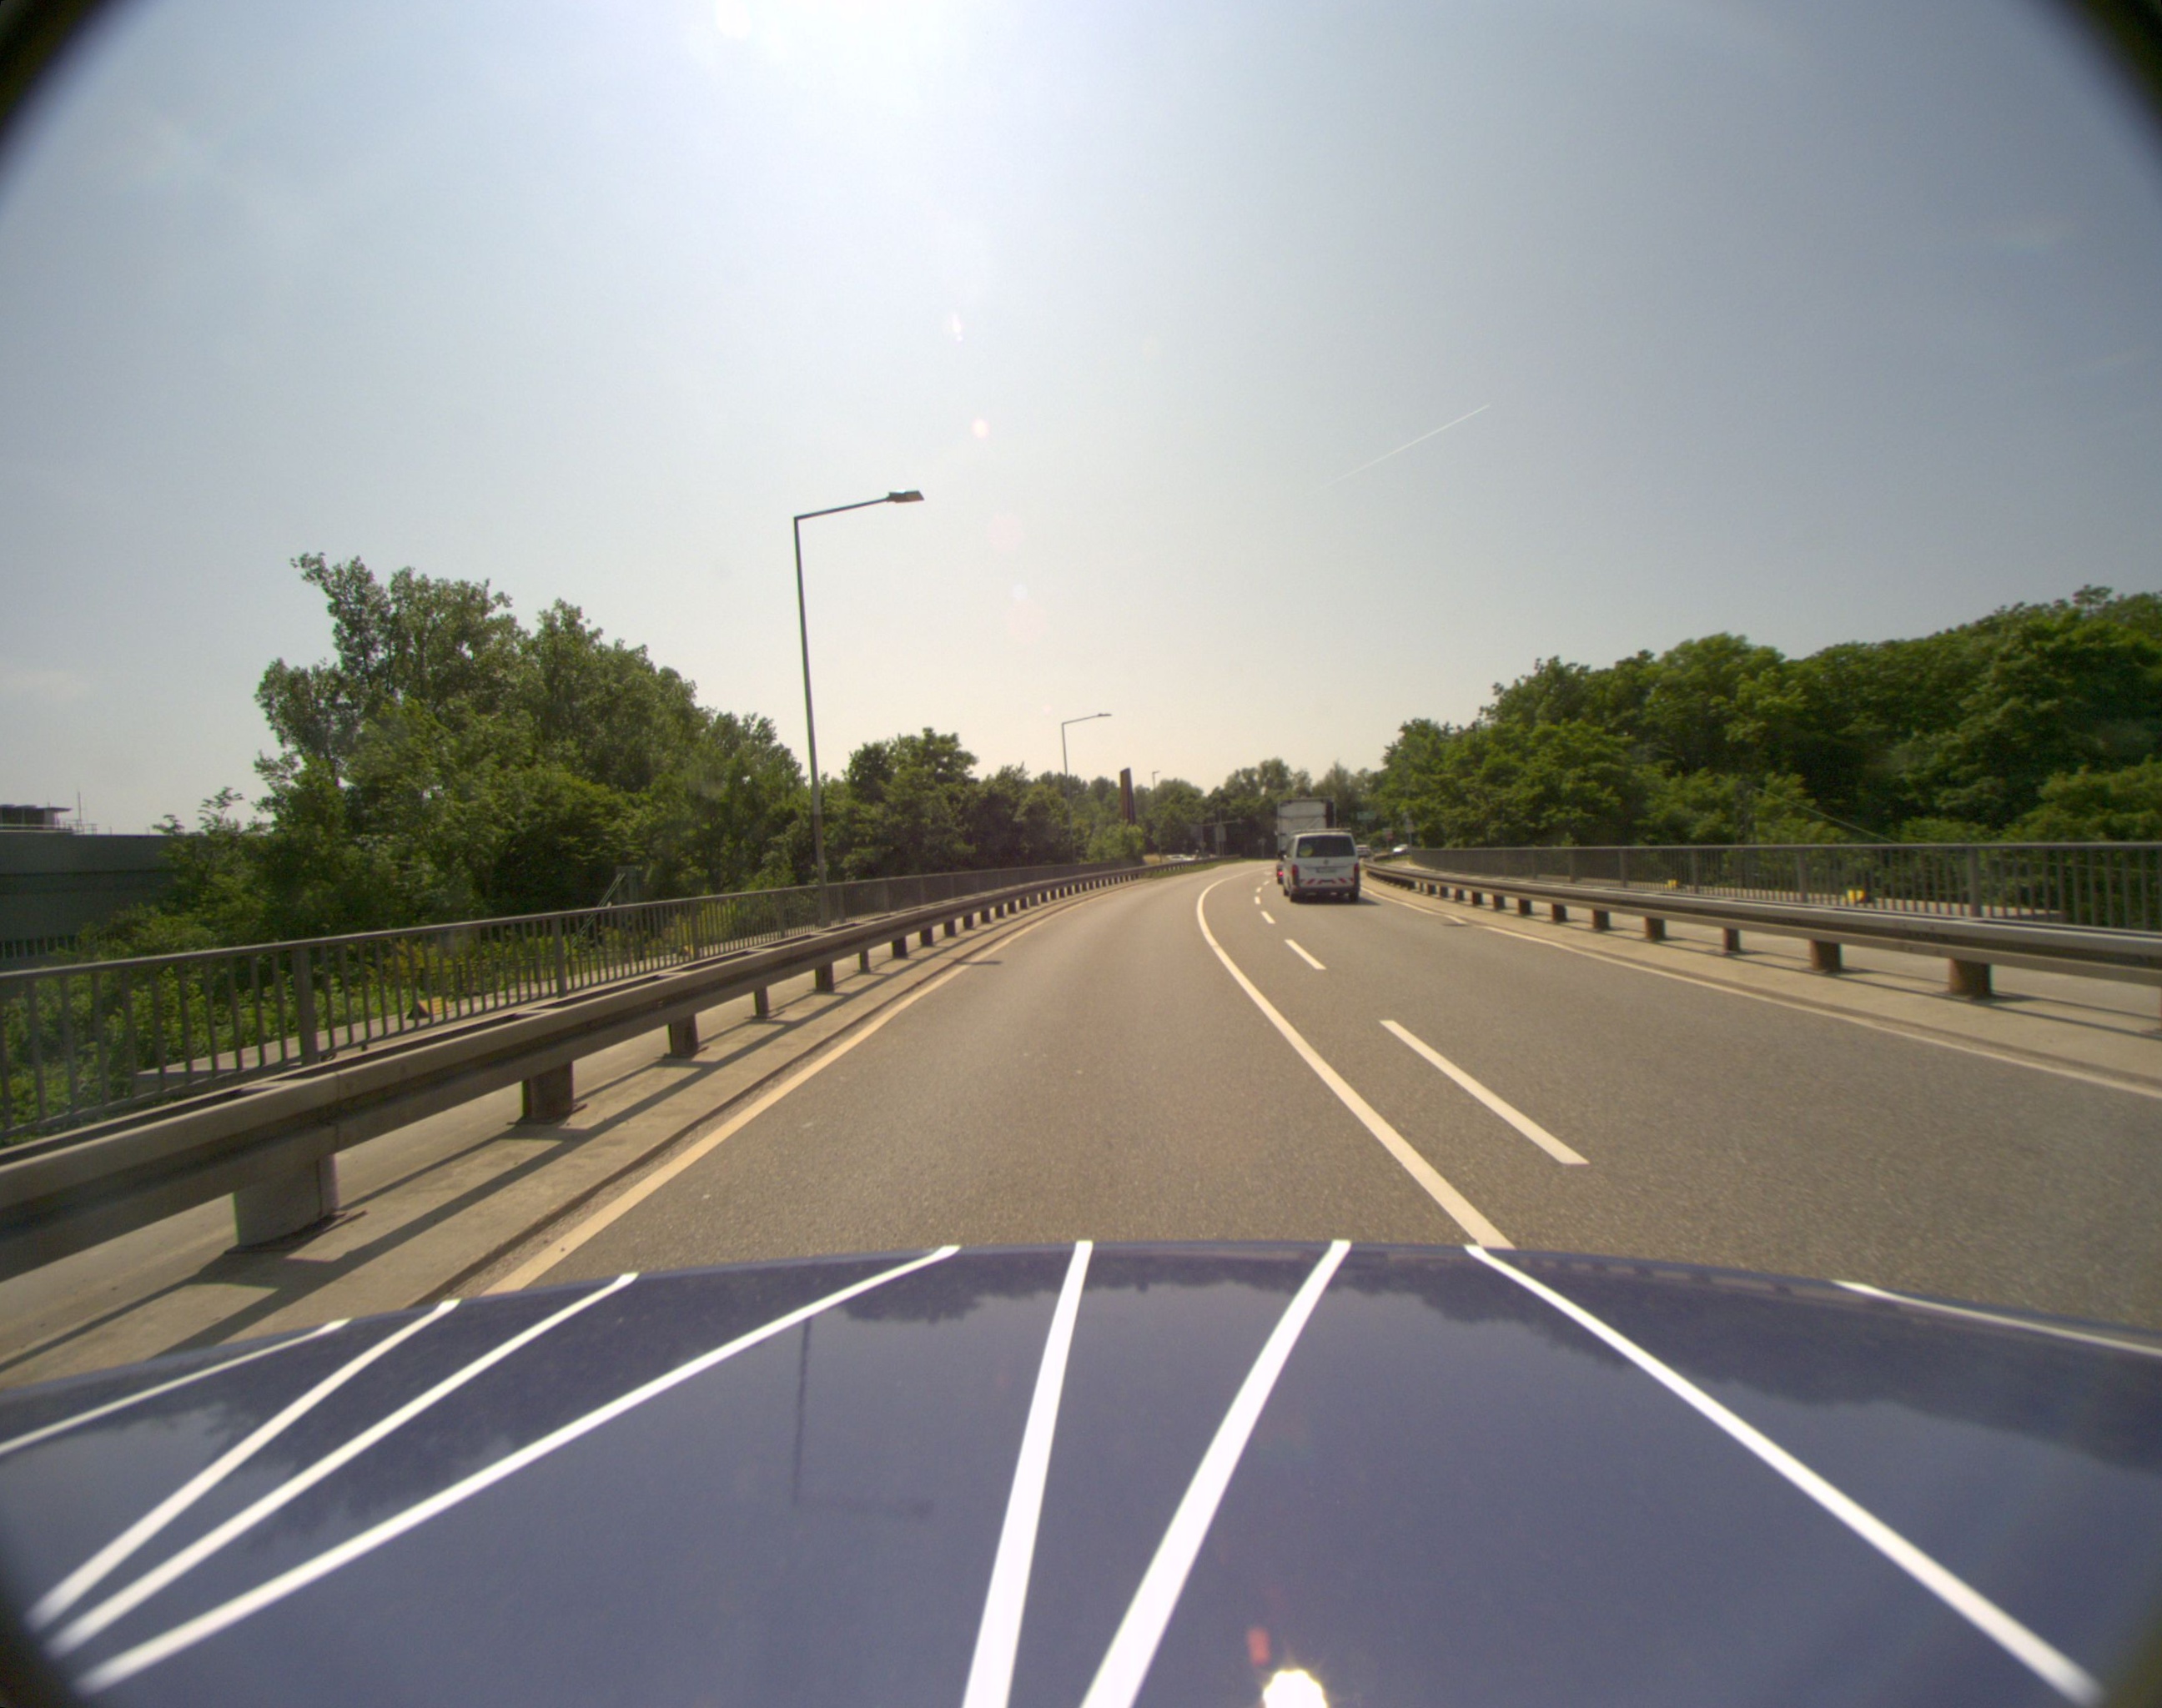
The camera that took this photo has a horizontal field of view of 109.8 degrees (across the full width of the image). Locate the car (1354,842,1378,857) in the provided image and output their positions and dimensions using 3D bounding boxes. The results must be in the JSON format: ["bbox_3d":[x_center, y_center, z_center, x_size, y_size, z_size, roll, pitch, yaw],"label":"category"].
[{"bbox_3d":[32.695,-0.488,87.172,1.829,1.629,4.586,-1,1,30],"label":"car"}]

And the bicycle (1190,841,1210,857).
[{"bbox_3d":[13.078,-0.536,83.548,0.657,1.565,2.369,-3,0,-34],"label":"bicycle"}]

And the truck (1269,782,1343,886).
[{"bbox_3d":[9.654,-0.780,32.461,2.709,3.968,6.193,-1,0,17],"label":"truck"}]

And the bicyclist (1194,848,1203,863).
[{"bbox_3d":[12.951,0.174,83.745,0.672,1.589,0.690,-3,0,-34],"label":"bicyclist"}]

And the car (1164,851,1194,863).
[{"bbox_3d":[14.557,0.470,113.107,1.871,1.497,4.286,-3,0,-38],"label":"car"}]

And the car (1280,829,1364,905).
[{"bbox_3d":[6.982,0.334,22.467,1.864,1.988,4.818,-2,0,12],"label":"car"}]
